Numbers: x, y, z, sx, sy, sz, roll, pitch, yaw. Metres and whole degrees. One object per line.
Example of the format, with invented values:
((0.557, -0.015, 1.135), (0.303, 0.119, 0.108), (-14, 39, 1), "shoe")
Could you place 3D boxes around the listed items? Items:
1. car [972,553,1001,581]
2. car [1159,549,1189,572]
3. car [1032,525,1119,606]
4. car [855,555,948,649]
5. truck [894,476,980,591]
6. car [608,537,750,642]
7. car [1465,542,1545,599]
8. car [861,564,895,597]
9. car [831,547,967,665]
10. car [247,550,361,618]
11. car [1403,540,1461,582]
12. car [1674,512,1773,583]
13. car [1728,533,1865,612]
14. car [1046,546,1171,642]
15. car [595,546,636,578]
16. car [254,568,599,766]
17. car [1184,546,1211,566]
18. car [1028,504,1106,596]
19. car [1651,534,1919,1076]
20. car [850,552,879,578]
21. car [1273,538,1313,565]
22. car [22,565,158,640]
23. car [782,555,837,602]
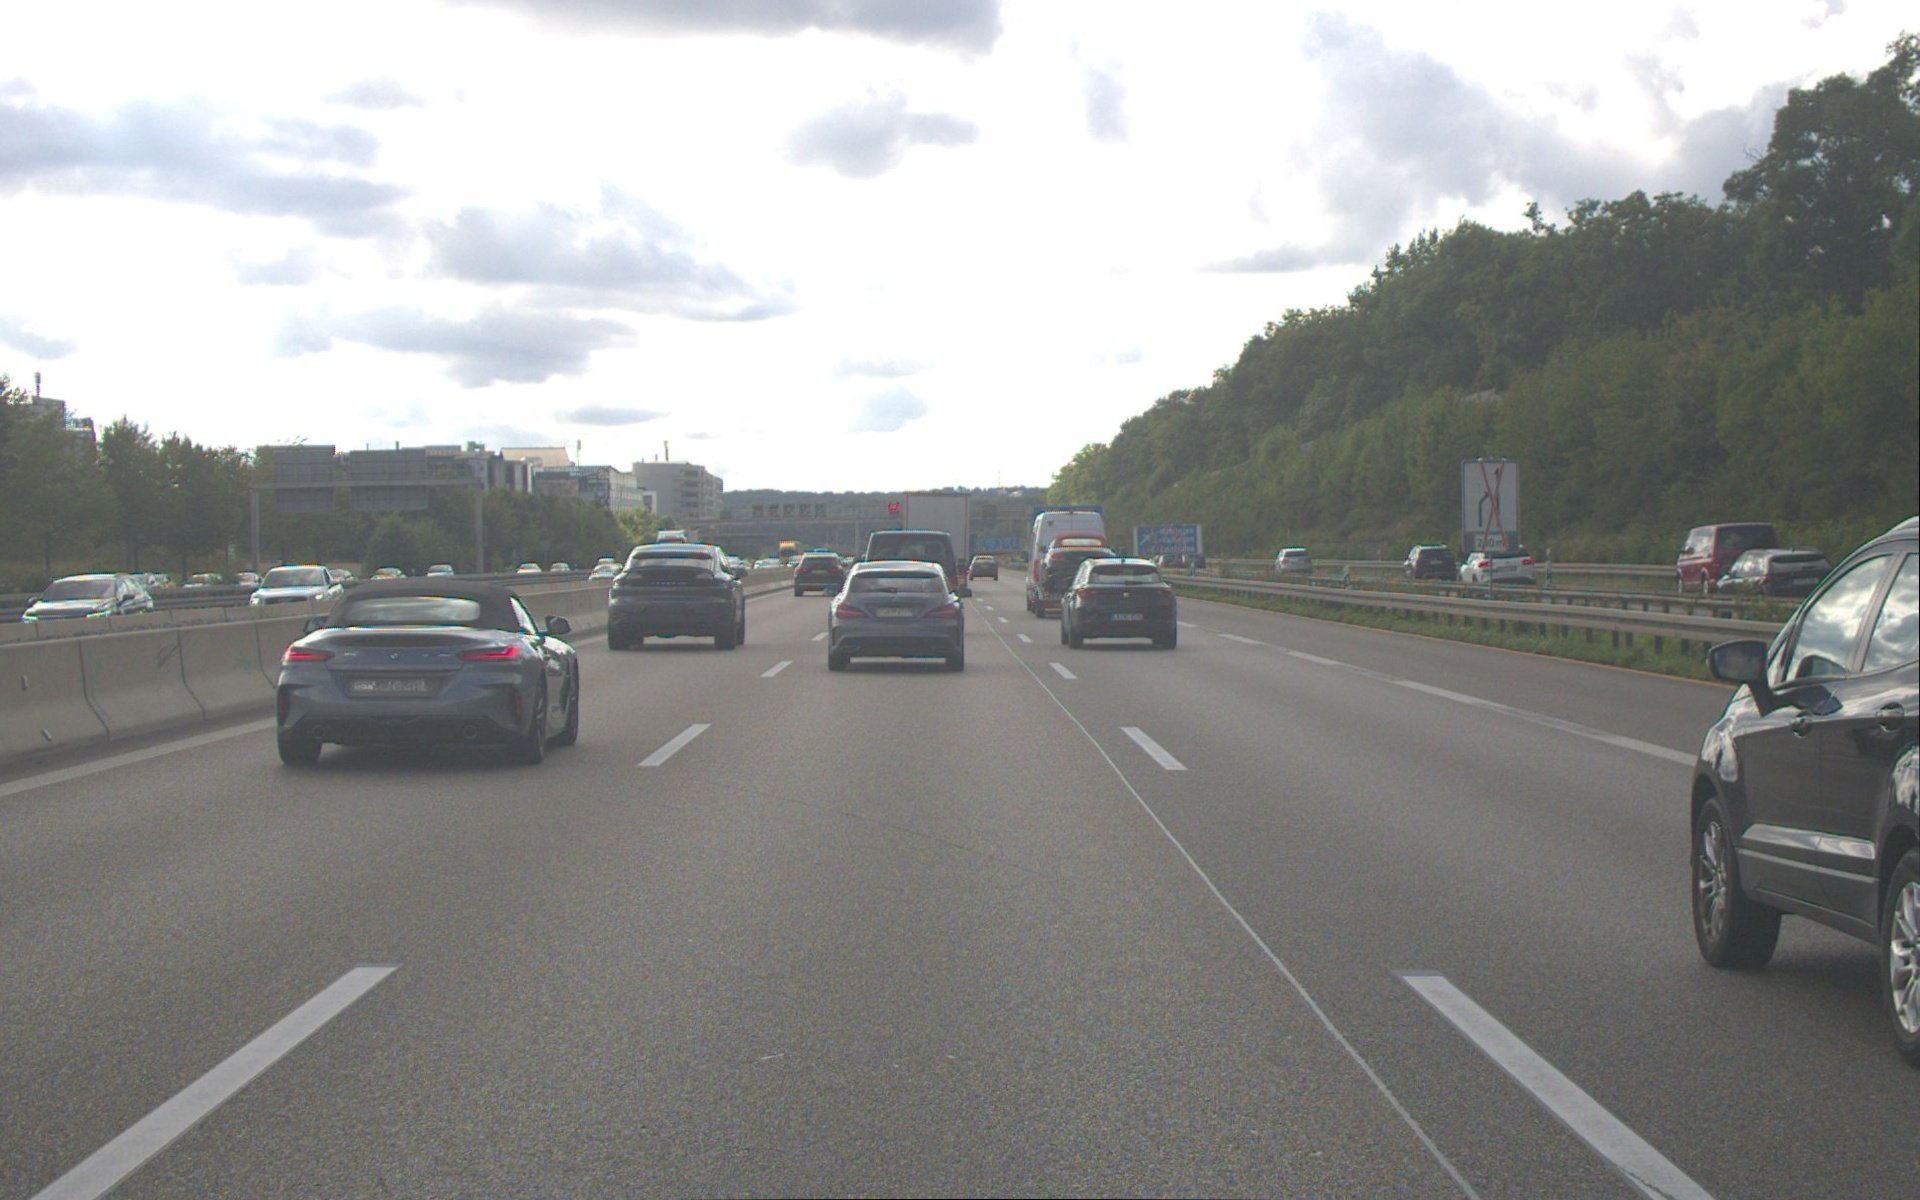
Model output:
((1.631, -2.048, 212.817), (1.752, 1.689, 4.190), (0, 1, -1), "car")
((14.743, -2.714, 237.235), (1.729, 1.528, 4.453), (-1, 1, -1), "car")
((2.782, -0.861, 83.564), (1.913, 1.912, 4.030), (0, 1, -1), "car")
((-1.100, 0.000, 65.904), (1.720, 1.718, 4.391), (0, 1, -1), "car")
((-0.919, -2.624, 137.156), (3.263, 4.360, 11.027), (1, 1, 0), "truck")
((-4.508, -0.212, 55.898), (1.912, 1.630, 5.500), (0, 1, -1), "car")
((16.664, -0.919, 105.303), (1.752, 1.689, 4.190), (0, 1, -1), "car")
((-4.090, -1.005, 171.605), (1.697, 1.605, 4.114), (0, 1, -1), "car")
((-0.799, 0.041, 45.737), (1.720, 1.474, 4.391), (0, 1, -1), "car")
((-15.184, -0.402, 79.747), (1.763, 1.527, 4.717), (0, 1, 0), "car")
((19.243, -1.580, 140.353), (1.752, 1.689, 4.190), (0, 1, -1), "car")
((19.696, -1.356, 88.810), (1.595, 1.798, 3.825), (0, 1, -2), "car")
((16.700, -0.564, 68.816), (1.595, 1.540, 4.191), (0, 1, -2), "car")
((2.404, -0.131, 56.523), (1.832, 1.516, 4.225), (0, 1, -1), "car")
((-17.825, -1.959, 177.857), (1.779, 1.640, 4.072), (0, 1, -1), "car")
((-3.895, 0.435, 25.889), (1.873, 1.298, 4.942), (0, 1, -1), "car")
((17.961, -3.317, 260.337), (1.752, 1.512, 4.190), (0, 1, -1), "car")
((2.800, -1.330, 90.579), (1.873, 2.349, 4.282), (0, 1, -1), "car")
((3.580, 0.565, 11.338), (1.697, 1.559, 4.114), (0, 1, -1), "car")
((-6.846, -2.515, 246.547), (1.993, 1.809, 4.567), (0, 1, 0), "car")
((18.816, -2.755, 194.468), (1.752, 1.512, 4.190), (0, 1, -1), "car")
((-17.029, 0.024, 67.480), (1.637, 1.398, 4.492), (0, 1, -1), "car")
((-5.504, -0.809, 126.023), (1.873, 1.692, 4.072), (0, 1, -1), "car")
